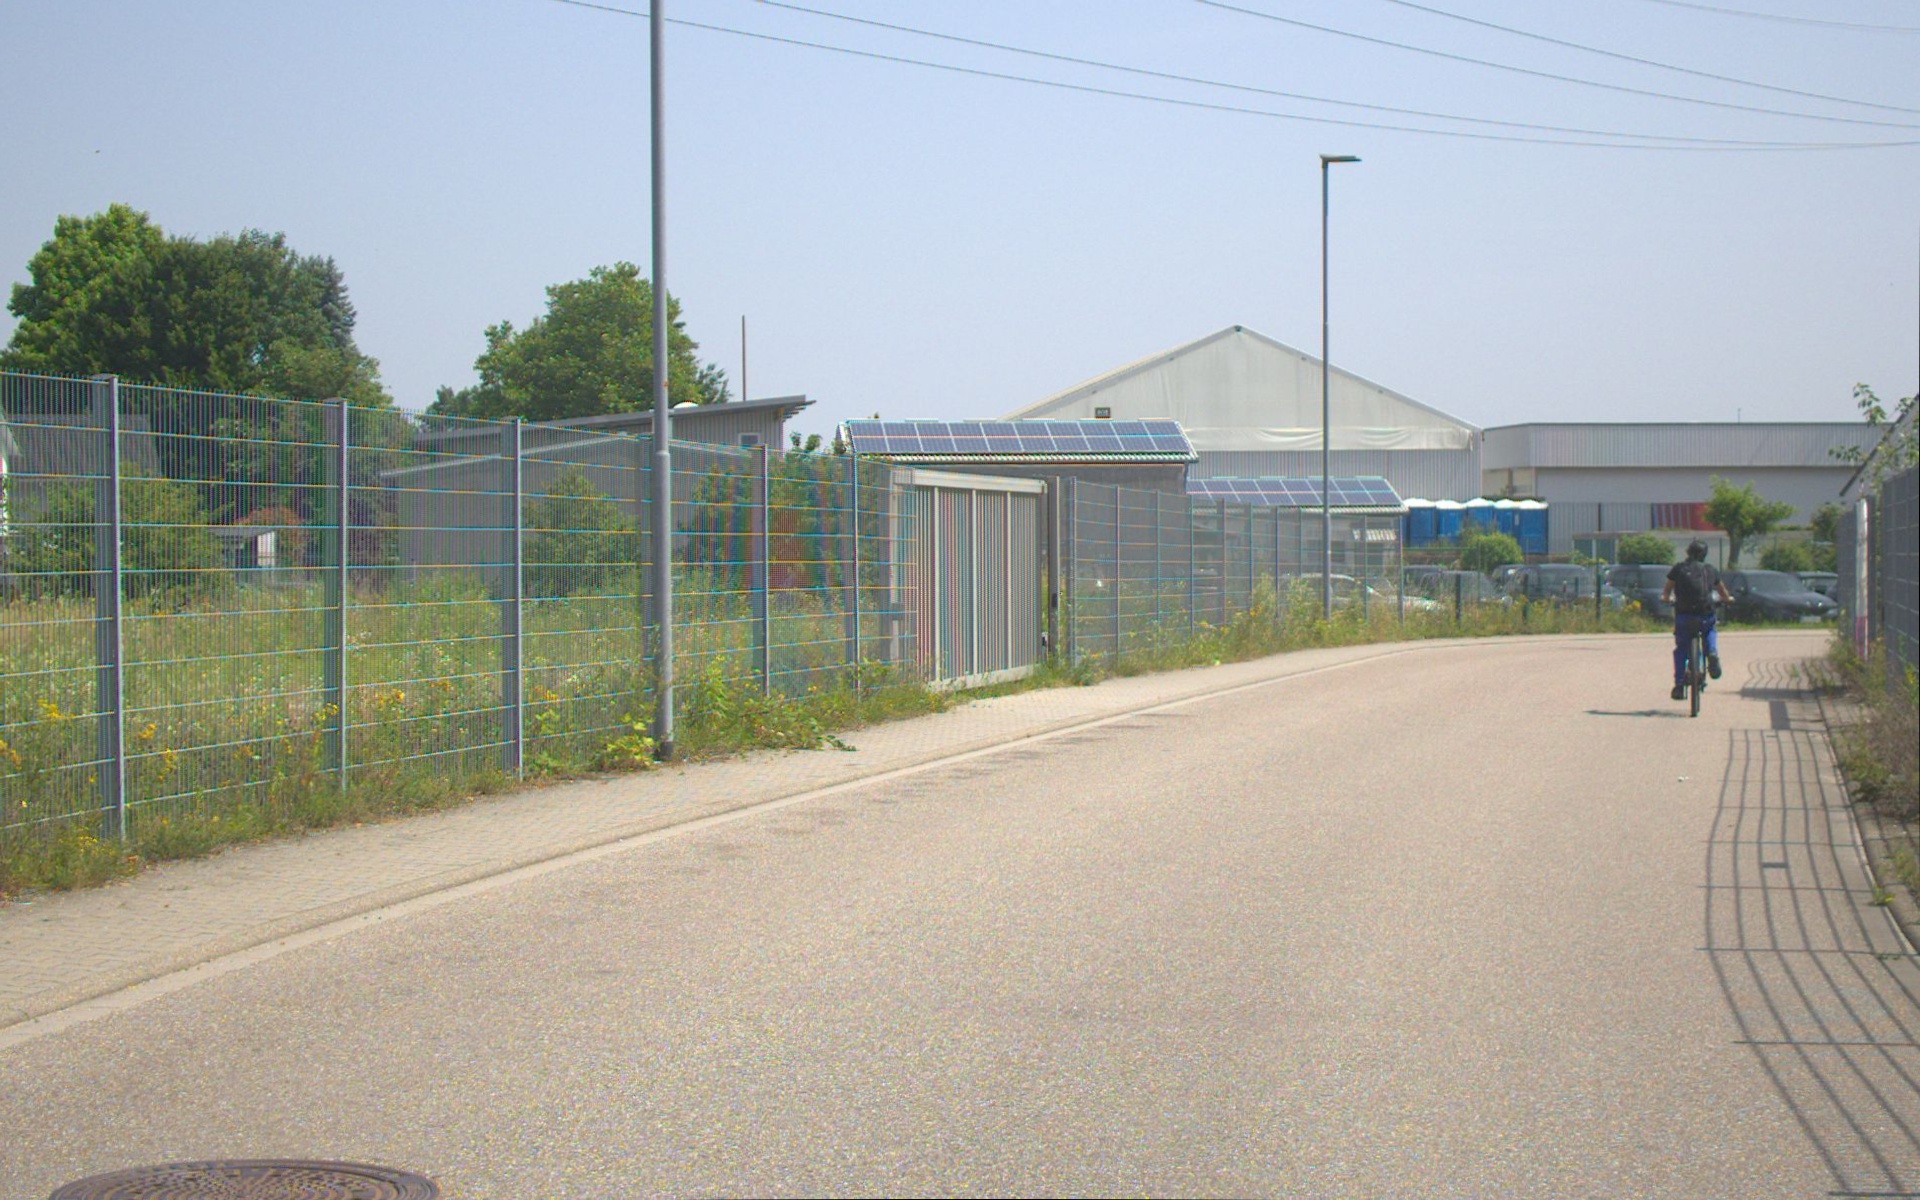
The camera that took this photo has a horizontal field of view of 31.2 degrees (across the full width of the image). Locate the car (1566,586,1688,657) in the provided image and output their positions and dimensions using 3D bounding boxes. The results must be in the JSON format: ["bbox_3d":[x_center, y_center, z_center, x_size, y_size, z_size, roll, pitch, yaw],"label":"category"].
[{"bbox_3d":[15.859,0.496,81.922,1.862,1.638,3.635,0,1,-6],"label":"car"}]

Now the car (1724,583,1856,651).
[{"bbox_3d":[19.620,0.389,81.405,1.862,1.549,3.771,0,1,-6],"label":"car"}]

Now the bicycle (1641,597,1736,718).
[{"bbox_3d":[6.785,0.517,31.953,0.685,1.048,1.899,1,1,17],"label":"bicycle"}]

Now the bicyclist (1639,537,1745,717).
[{"bbox_3d":[6.801,0.234,31.899,0.843,1.613,1.038,1,2,17],"label":"bicyclist"}]
